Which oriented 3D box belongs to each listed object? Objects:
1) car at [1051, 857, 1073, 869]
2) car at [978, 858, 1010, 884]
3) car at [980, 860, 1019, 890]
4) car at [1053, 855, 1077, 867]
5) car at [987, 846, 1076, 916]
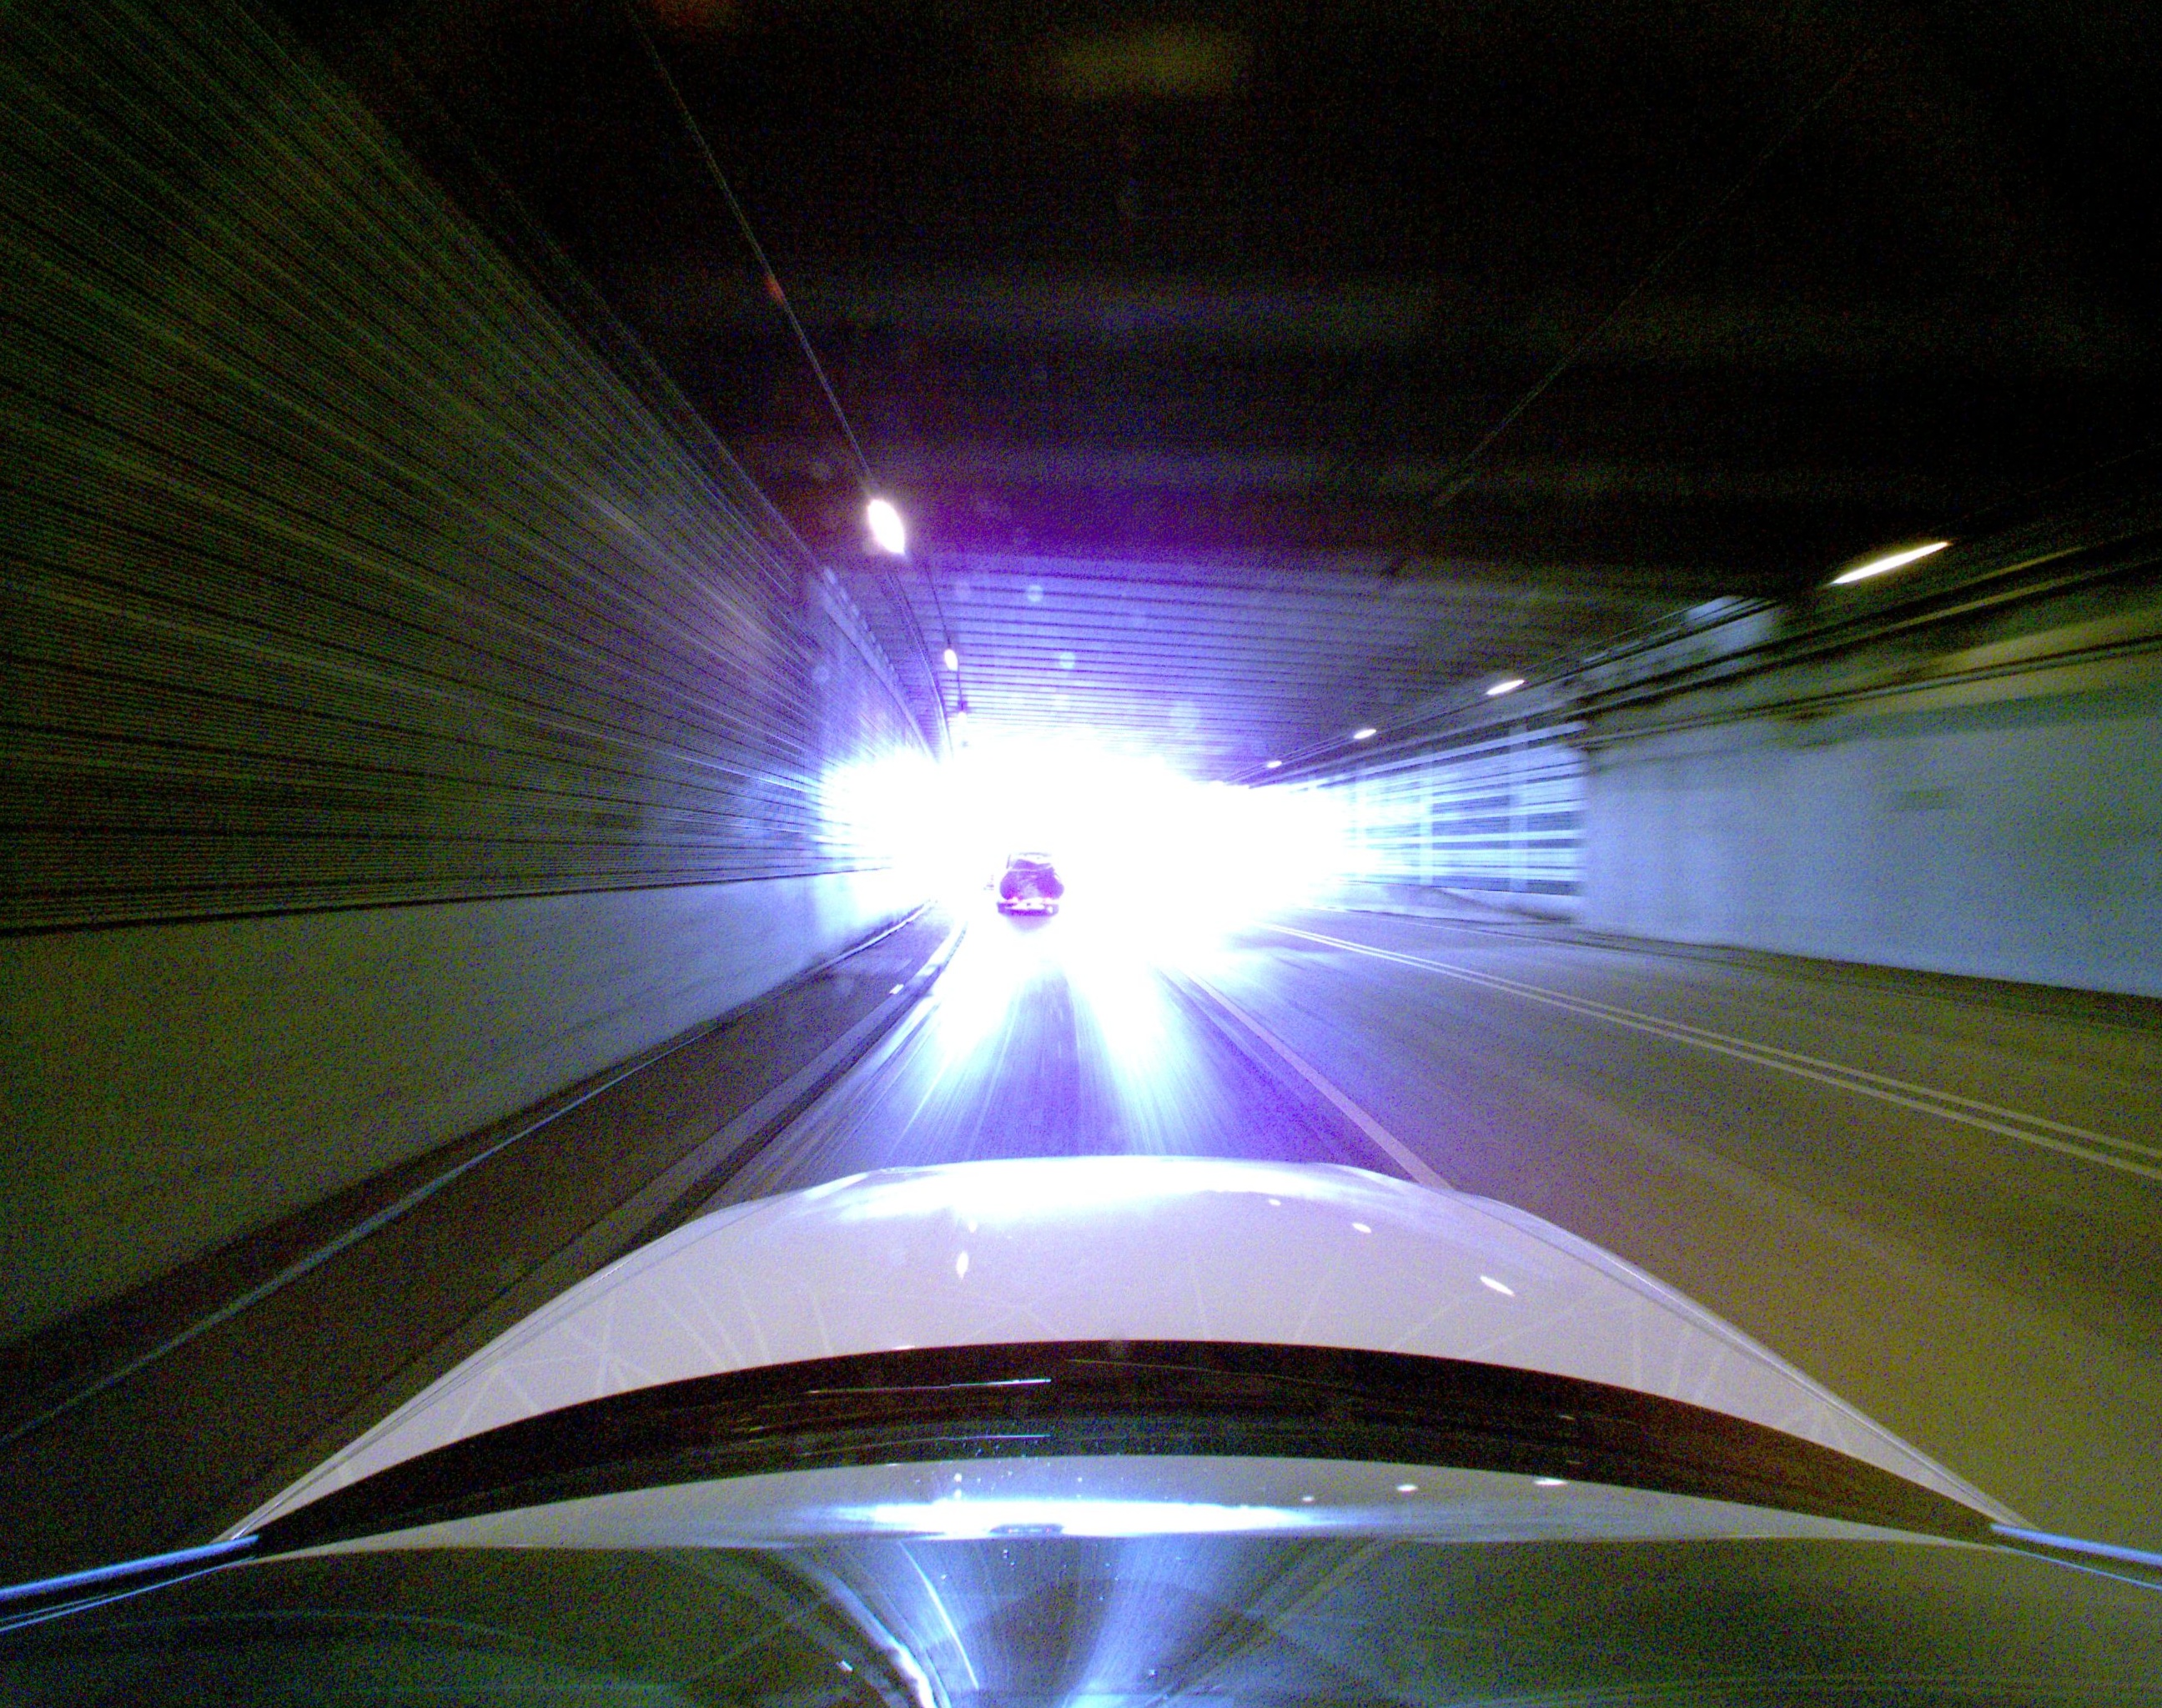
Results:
[{"bbox_3d":[-2.444,1.183,106.679,1.999,1.488,4.078,1,1,12],"label":"car"},{"bbox_3d":[-5.574,1.045,52.481,1.917,1.488,4.059,1,1,-4],"label":"car"},{"bbox_3d":[-4.171,1.019,41.214,1.814,1.434,4.054,0,0,-8],"label":"car"},{"bbox_3d":[-2.110,0.934,108.119,1.978,1.469,4.018,-1,0,17],"label":"car"},{"bbox_3d":[-1.656,0.735,24.930,1.994,1.859,5.620,-1,0,-11],"label":"car"}]
